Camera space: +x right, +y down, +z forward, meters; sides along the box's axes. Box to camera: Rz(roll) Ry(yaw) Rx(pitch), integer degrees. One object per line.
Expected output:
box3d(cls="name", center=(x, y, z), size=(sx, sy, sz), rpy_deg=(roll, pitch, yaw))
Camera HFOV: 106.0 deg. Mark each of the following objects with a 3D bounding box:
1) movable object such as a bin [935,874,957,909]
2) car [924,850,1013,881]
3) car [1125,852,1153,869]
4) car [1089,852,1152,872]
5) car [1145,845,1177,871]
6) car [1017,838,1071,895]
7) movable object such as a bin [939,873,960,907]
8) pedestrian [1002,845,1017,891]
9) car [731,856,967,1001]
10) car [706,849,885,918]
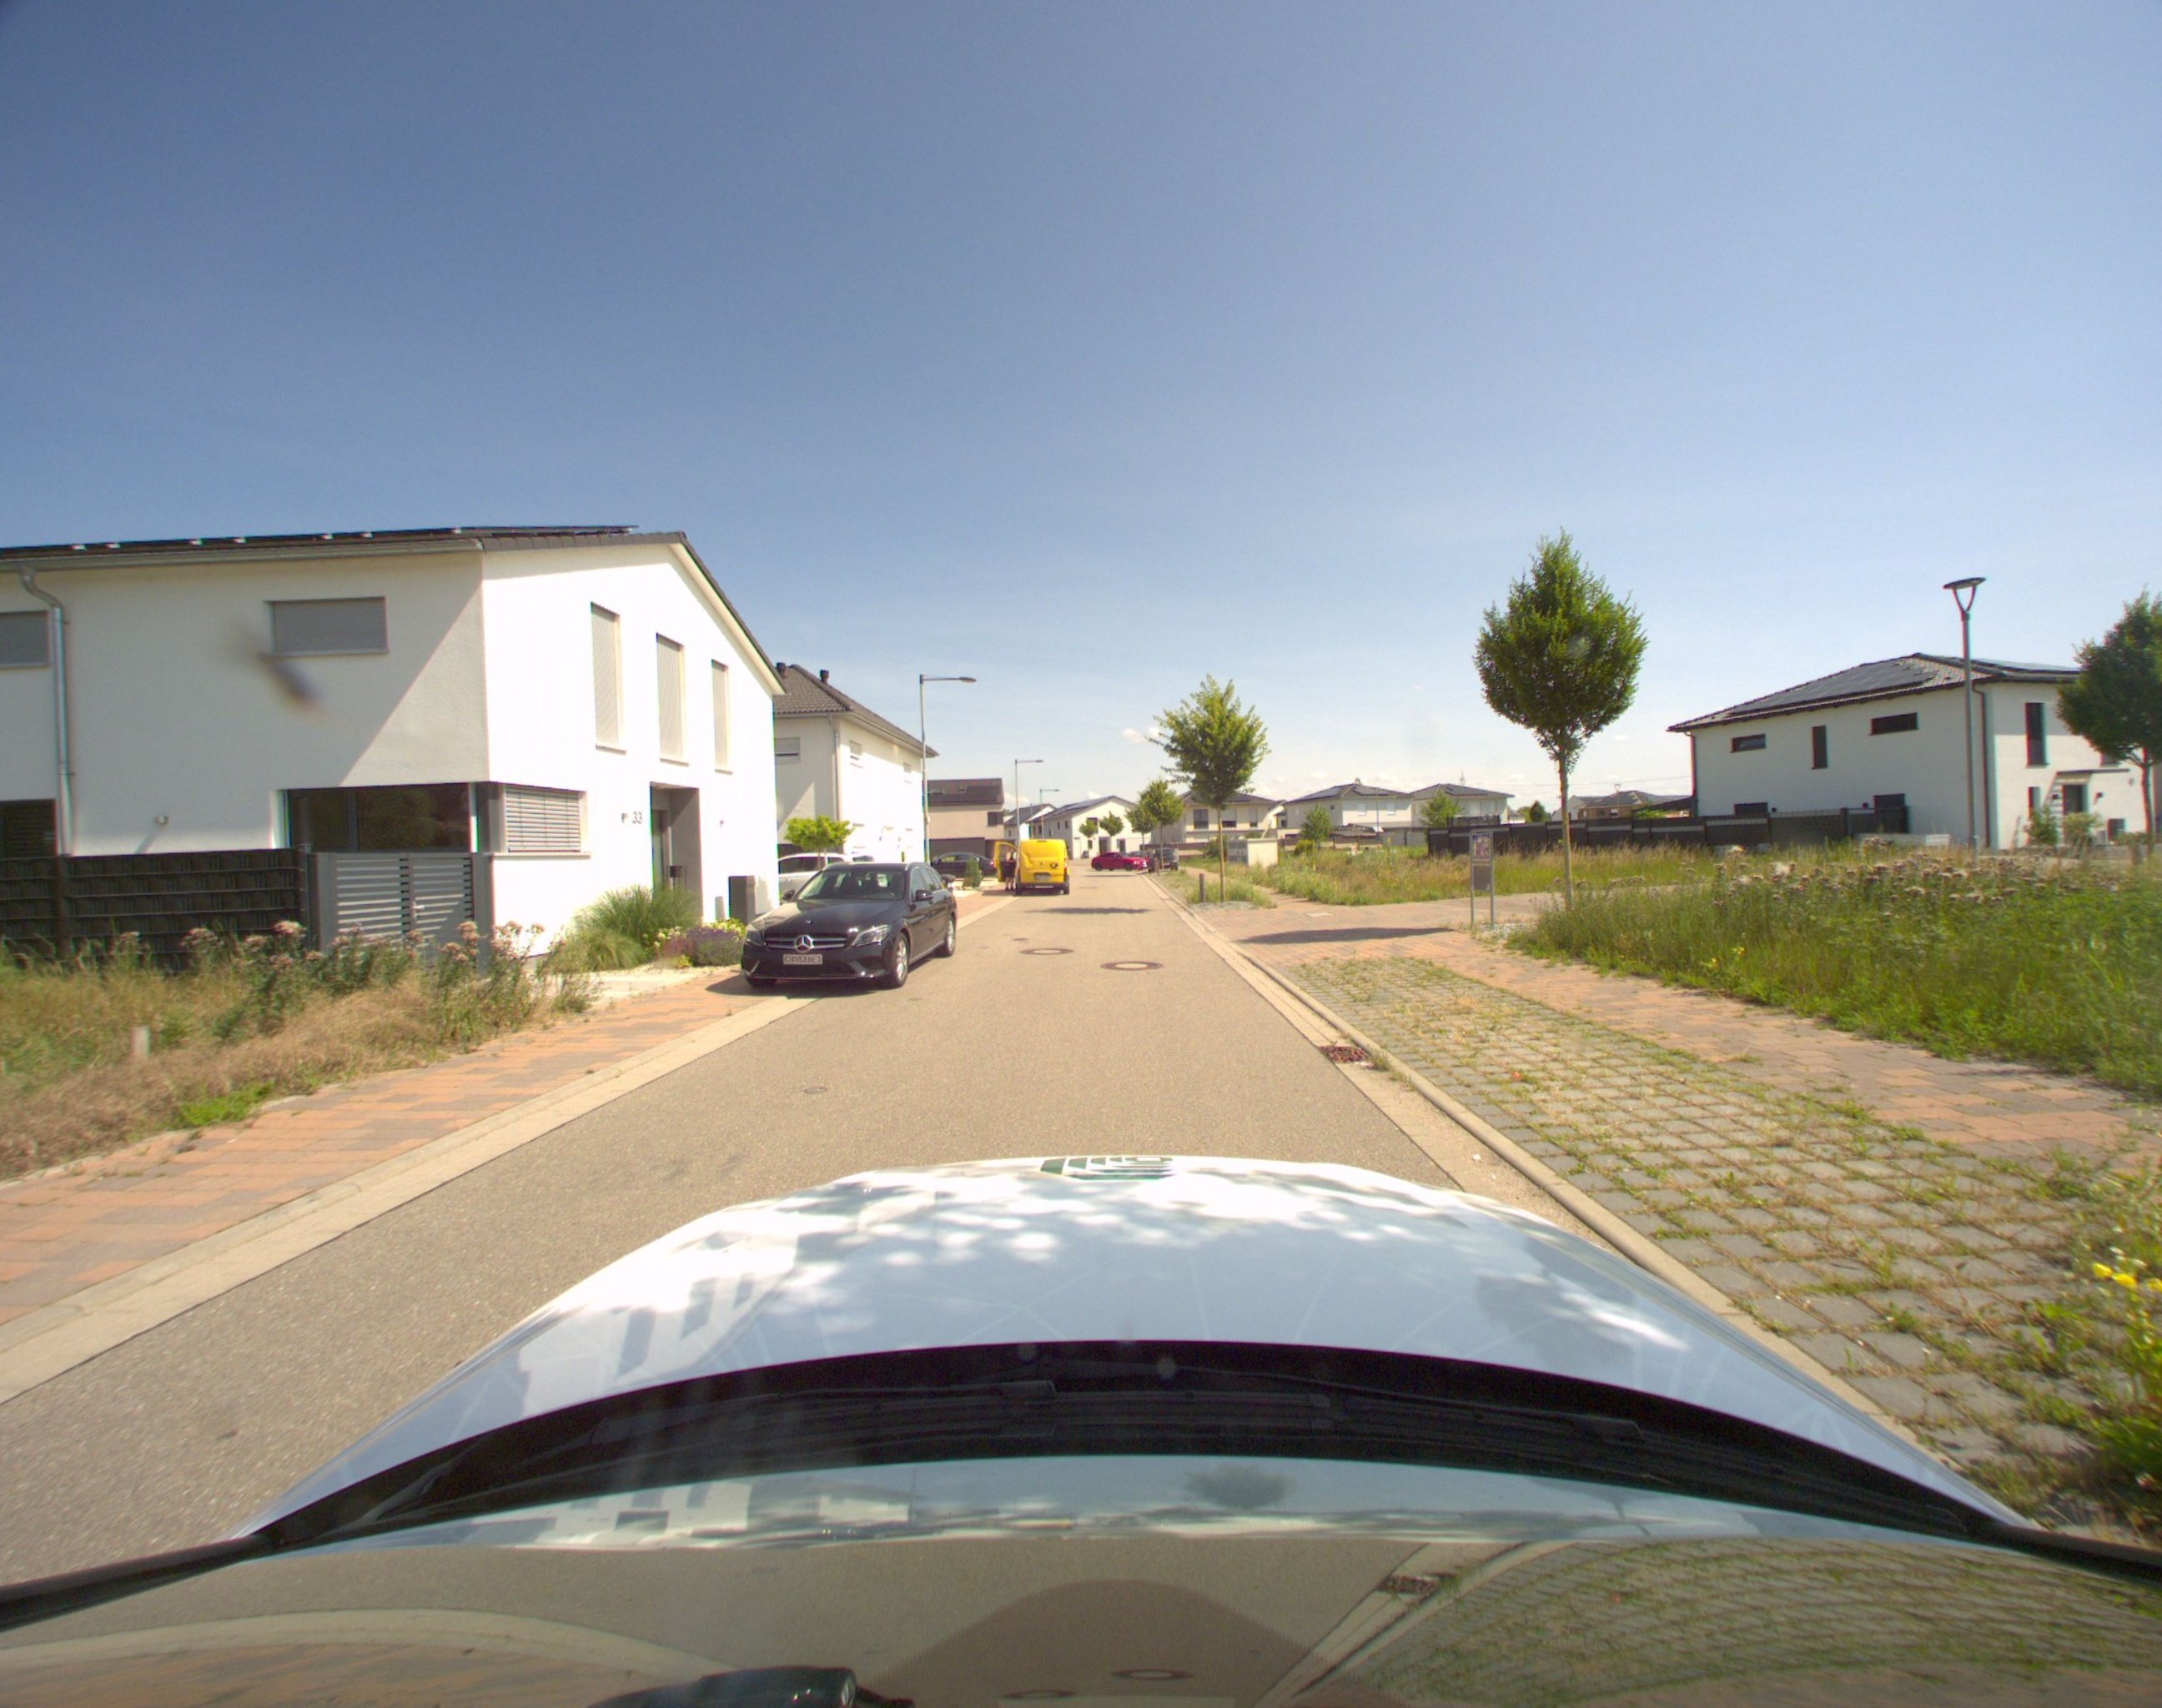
box3d(cls="movable object such as a bin", center=(-3.742, 1.035, 22.632), size=(0.484, 0.925, 0.530), rpy_deg=(-2, 0, -1))
box3d(cls="car", center=(-5.744, 0.566, 41.557), size=(4.395, 1.452, 1.742), rpy_deg=(-1, 0, -12))
box3d(cls="car", center=(4.917, 0.548, 69.577), size=(1.751, 1.363, 4.570), rpy_deg=(-1, 0, -3))
box3d(cls="car", center=(2.873, 0.575, 60.156), size=(4.461, 1.438, 1.779), rpy_deg=(-1, 0, 40))
box3d(cls="car", center=(4.925, 0.230, 50.392), size=(1.593, 1.475, 3.675), rpy_deg=(-4, 0, 0))
box3d(cls="car", center=(-1.376, 0.431, 30.925), size=(1.879, 2.013, 4.837), rpy_deg=(0, 0, -2))
box3d(cls="movable object such as a bin", center=(-3.739, 1.017, 23.180), size=(0.484, 0.925, 0.530), rpy_deg=(-2, 0, -1))
box3d(cls="pedestrian", center=(-2.752, 0.533, 31.442), size=(0.530, 1.738, 0.569), rpy_deg=(0, 0, -5))
box3d(cls="car", center=(-2.771, 0.799, 10.857), size=(1.684, 1.472, 4.447), rpy_deg=(1, 0, 2))
box3d(cls="car", center=(-7.351, 0.742, 21.162), size=(3.934, 1.619, 1.797), rpy_deg=(-2, 0, 6))
